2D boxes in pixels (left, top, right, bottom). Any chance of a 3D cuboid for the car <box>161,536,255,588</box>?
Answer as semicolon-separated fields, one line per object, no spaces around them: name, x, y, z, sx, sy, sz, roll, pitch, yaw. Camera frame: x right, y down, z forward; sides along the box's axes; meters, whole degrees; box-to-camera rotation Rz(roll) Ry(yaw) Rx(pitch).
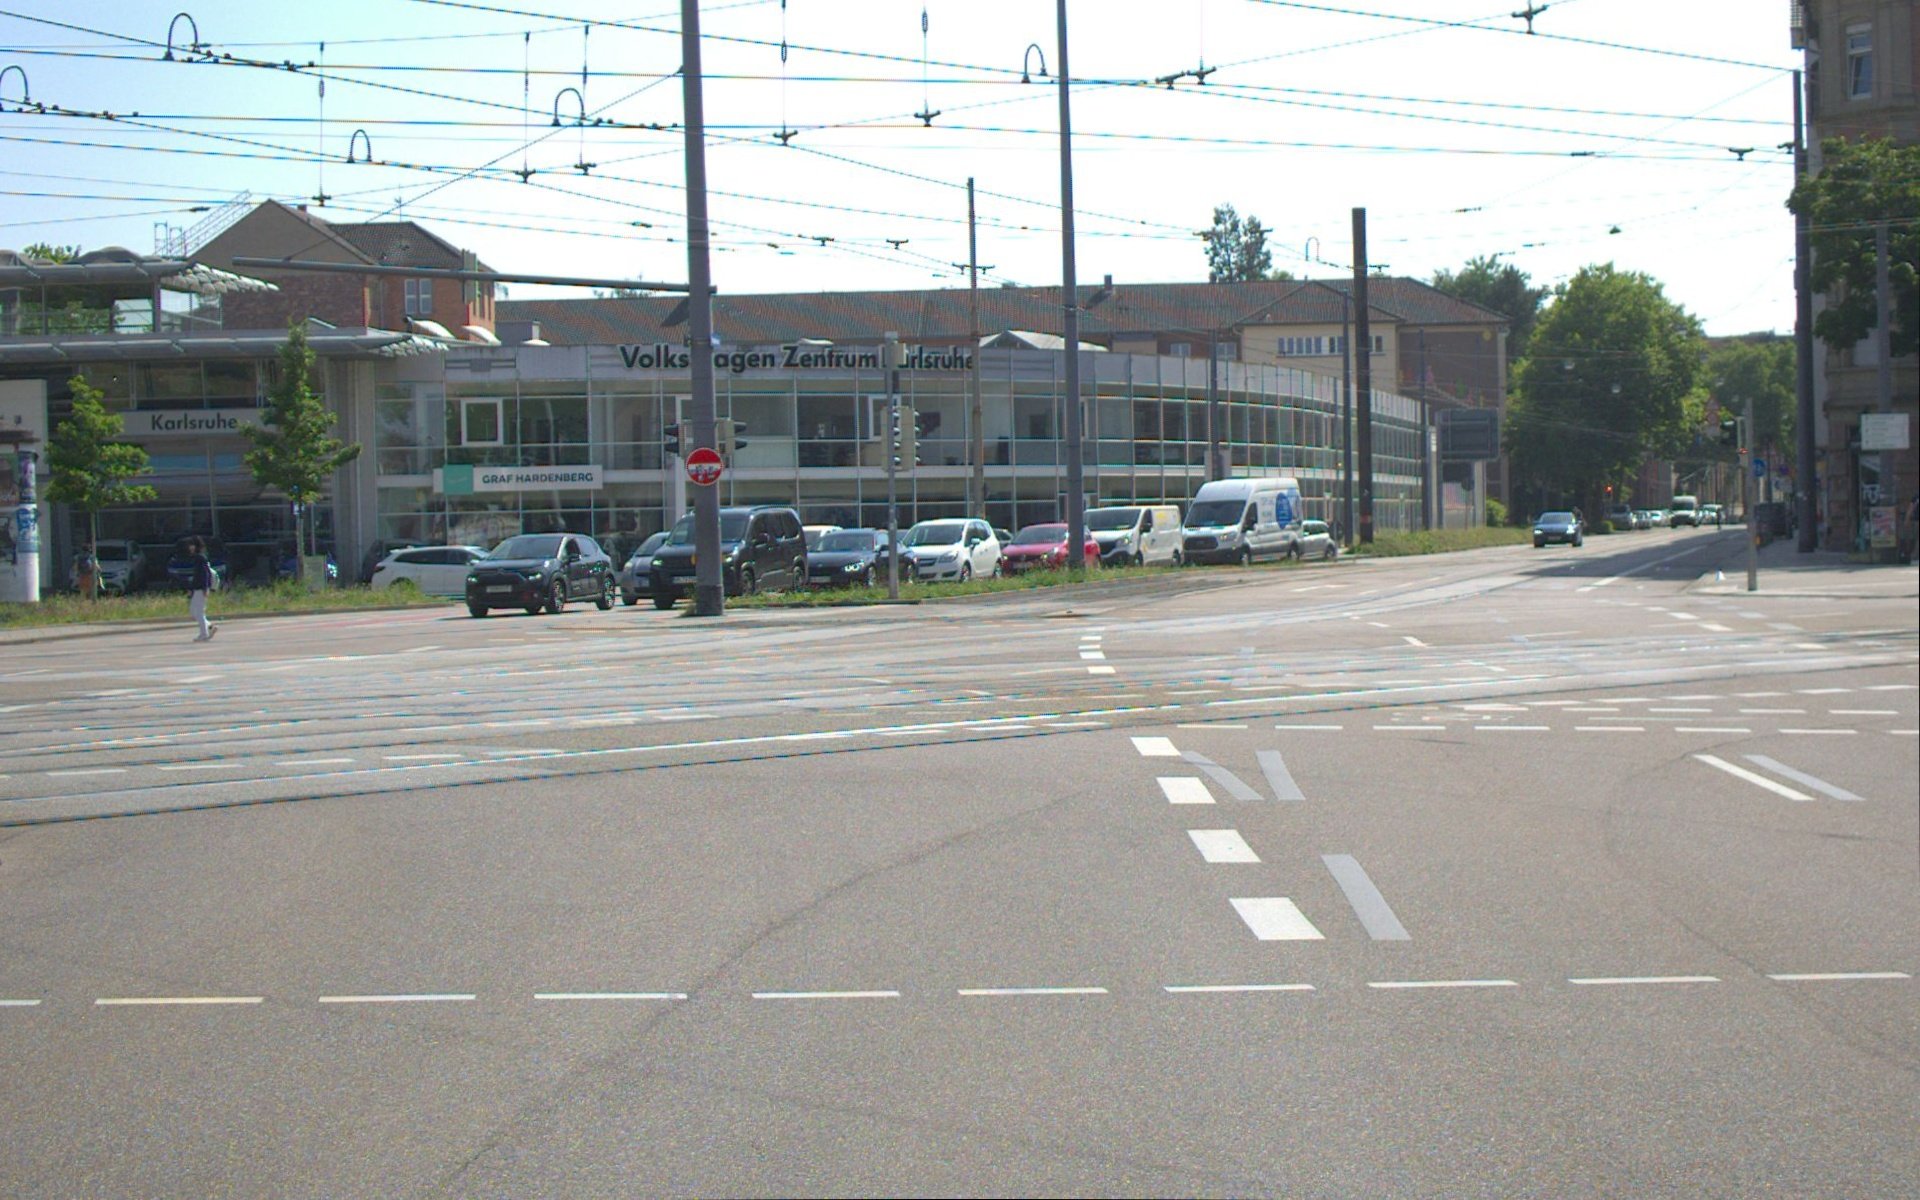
car;-21.922;-1.117;100.362;1.993;1.481;4.000;1;1;-2

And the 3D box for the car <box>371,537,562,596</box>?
car;-12.551;-0.858;87.464;4.587;1.431;1.443;1;0;13

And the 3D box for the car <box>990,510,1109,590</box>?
car;2.247;-1.214;85.331;1.896;1.910;4.197;-1;0;17

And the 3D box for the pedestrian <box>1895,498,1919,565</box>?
pedestrian;20.454;-1.462;73.399;0.612;1.428;0.712;0;0;-38

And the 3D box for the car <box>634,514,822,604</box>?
car;-4.301;-0.796;64.593;1.962;1.582;4.713;-1;1;17

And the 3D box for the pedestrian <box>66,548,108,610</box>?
pedestrian;-22.267;-0.539;87.678;0.953;1.574;0.534;1;0;-3

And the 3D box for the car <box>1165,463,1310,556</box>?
car;8.082;-2.587;99.553;2.211;2.566;5.867;1;1;26

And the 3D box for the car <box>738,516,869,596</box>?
car;-3.523;-0.984;78.113;1.653;1.733;4.197;-1;0;17

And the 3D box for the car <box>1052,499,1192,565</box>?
car;4.402;-1.839;92.413;2.188;1.675;5.024;-1;1;22

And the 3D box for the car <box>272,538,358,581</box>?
car;-18.729;-1.187;99.972;1.830;1.191;4.000;1;1;-2

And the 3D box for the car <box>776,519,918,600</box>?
car;-2.300;-0.823;71.143;1.895;1.582;3.997;-1;0;14

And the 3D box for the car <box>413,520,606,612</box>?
car;-8.162;-0.611;62.668;1.893;1.582;4.207;-1;0;17

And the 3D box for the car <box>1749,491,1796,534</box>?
car;39.142;-4.214;165.531;2.110;2.007;3.998;-1;1;14

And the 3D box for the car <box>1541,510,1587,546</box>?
car;24.871;-2.963;141.461;1.385;1.409;3.010;1;1;19

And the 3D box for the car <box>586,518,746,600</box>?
car;-5.980;-0.827;70.422;1.896;1.582;3.997;-1;0;17

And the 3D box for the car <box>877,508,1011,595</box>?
car;-0.325;-1.088;78.433;1.896;1.910;4.197;-1;0;17

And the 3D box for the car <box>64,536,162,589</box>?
car;-24.707;-1.101;100.390;1.993;1.481;4.000;1;1;-2

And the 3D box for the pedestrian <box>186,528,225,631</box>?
pedestrian;-11.801;-0.317;53.742;0.453;1.599;0.400;1;0;-36
